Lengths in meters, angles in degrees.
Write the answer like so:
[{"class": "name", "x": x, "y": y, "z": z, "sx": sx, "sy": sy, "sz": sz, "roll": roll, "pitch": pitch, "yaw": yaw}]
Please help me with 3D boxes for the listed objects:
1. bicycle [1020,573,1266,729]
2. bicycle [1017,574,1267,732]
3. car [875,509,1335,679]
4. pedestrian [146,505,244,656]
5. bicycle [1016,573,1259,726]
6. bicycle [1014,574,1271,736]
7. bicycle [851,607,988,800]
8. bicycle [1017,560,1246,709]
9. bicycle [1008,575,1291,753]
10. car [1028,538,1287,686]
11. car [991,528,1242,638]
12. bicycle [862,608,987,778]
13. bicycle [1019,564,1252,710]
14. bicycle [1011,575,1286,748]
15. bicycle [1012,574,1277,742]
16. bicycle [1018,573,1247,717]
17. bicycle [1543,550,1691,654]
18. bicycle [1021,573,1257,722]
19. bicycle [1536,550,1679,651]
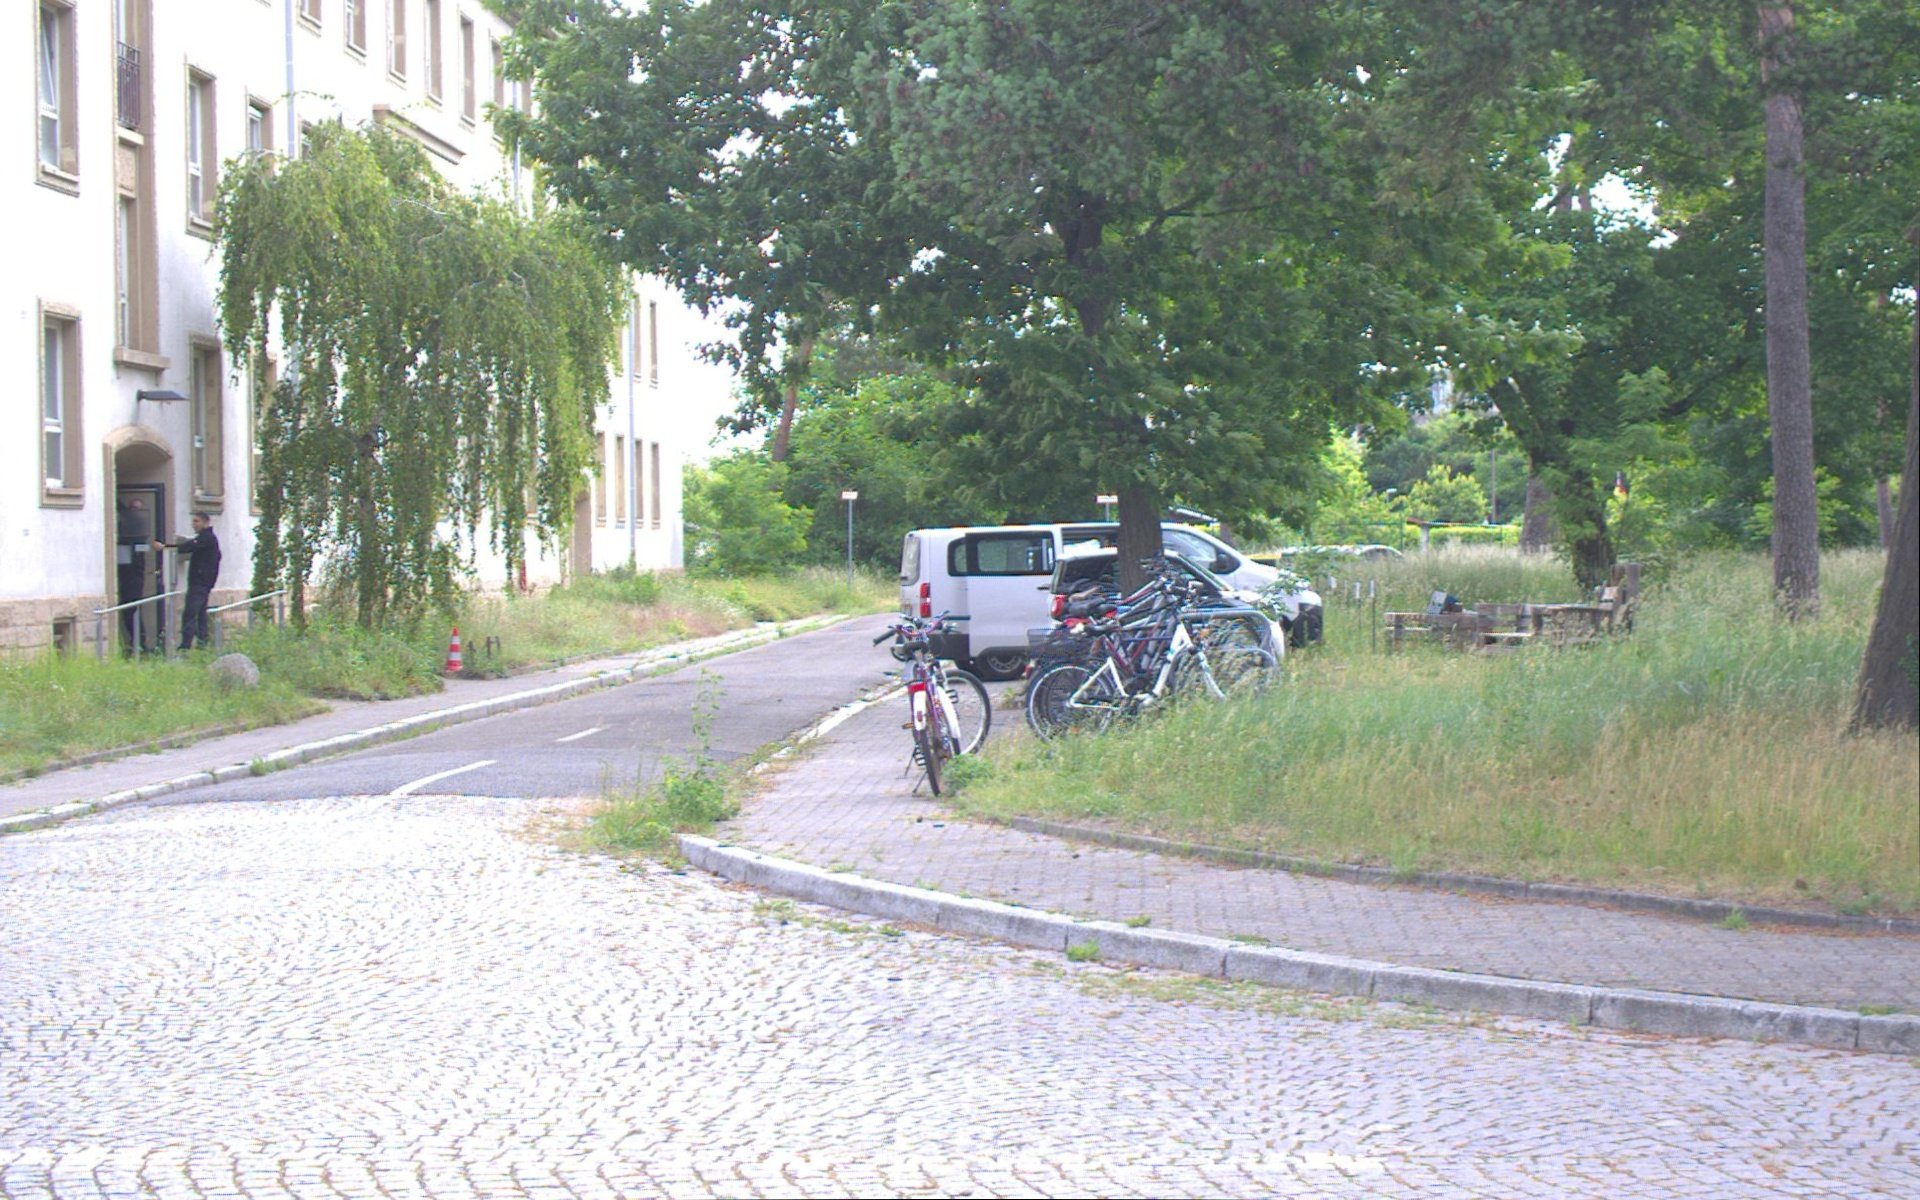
[{"class": "bicycle", "x": 1.485, "y": 0.409, "z": 28.099, "sx": 1.982, "sy": 1.243, "sz": 0.624, "roll": 0, "pitch": 0, "yaw": 2}, {"class": "bicycle", "x": 1.450, "y": 0.415, "z": 27.574, "sx": 1.982, "sy": 1.243, "sz": 0.624, "roll": 0, "pitch": 0, "yaw": 2}, {"class": "car", "x": 1.763, "y": -0.096, "z": 42.629, "sx": 5.303, "sy": 1.909, "sz": 2.150, "roll": -2, "pitch": 1, "yaw": -11}, {"class": "pedestrian", "x": -9.136, "y": -0.236, "z": 41.081, "sx": 0.837, "sy": 1.775, "sz": 0.941, "roll": -1, "pitch": 1, "yaw": 8}, {"class": "bicycle", "x": 1.461, "y": 0.405, "z": 28.494, "sx": 1.982, "sy": 1.243, "sz": 0.624, "roll": 0, "pitch": 0, "yaw": 2}, {"class": "bicycle", "x": 1.420, "y": 0.422, "z": 26.942, "sx": 1.982, "sy": 1.243, "sz": 0.624, "roll": 0, "pitch": 0, "yaw": 2}, {"class": "bicycle", "x": -0.232, "y": 0.612, "z": 21.242, "sx": 0.622, "sy": 1.110, "sz": 1.988, "roll": 0, "pitch": 1, "yaw": 6}, {"class": "bicycle", "x": 1.534, "y": 0.302, "z": 30.845, "sx": 1.982, "sy": 1.243, "sz": 0.624, "roll": -2, "pitch": 0, "yaw": 2}, {"class": "bicycle", "x": 1.342, "y": 0.450, "z": 24.528, "sx": 1.982, "sy": 1.243, "sz": 0.624, "roll": 0, "pitch": 0, "yaw": 2}, {"class": "car", "x": 2.233, "y": 0.124, "z": 39.122, "sx": 2.848, "sy": 1.552, "sz": 1.472, "roll": -1, "pitch": 2, "yaw": 3}, {"class": "car", "x": 2.559, "y": -0.279, "z": 56.493, "sx": 4.031, "sy": 1.712, "sz": 1.681, "roll": -1, "pitch": 1, "yaw": 2}, {"class": "bicycle", "x": -0.224, "y": 0.605, "z": 23.199, "sx": 0.622, "sy": 1.079, "sz": 1.677, "roll": 0, "pitch": 1, "yaw": 7}, {"class": "bicycle", "x": 1.507, "y": 0.313, "z": 29.691, "sx": 1.982, "sy": 1.243, "sz": 0.624, "roll": 0, "pitch": 0, "yaw": 2}, {"class": "bicycle", "x": 1.366, "y": 0.443, "z": 25.157, "sx": 1.982, "sy": 1.243, "sz": 0.624, "roll": 0, "pitch": 0, "yaw": 2}, {"class": "bicycle", "x": 1.388, "y": 0.432, "z": 26.083, "sx": 1.982, "sy": 1.243, "sz": 0.624, "roll": 0, "pitch": 0, "yaw": 2}, {"class": "bicycle", "x": 1.509, "y": 0.385, "z": 30.186, "sx": 1.982, "sy": 1.243, "sz": 0.624, "roll": 0, "pitch": 0, "yaw": 2}, {"class": "bicycle", "x": 7.213, "y": 0.020, "z": 37.761, "sx": 1.549, "sy": 1.121, "sz": 0.401, "roll": -1, "pitch": 1, "yaw": 5}, {"class": "bicycle", "x": 1.510, "y": 0.397, "z": 29.177, "sx": 1.982, "sy": 1.243, "sz": 0.624, "roll": 0, "pitch": 0, "yaw": 2}, {"class": "bicycle", "x": 7.338, "y": 0.004, "z": 38.987, "sx": 1.549, "sy": 1.121, "sz": 0.401, "roll": -1, "pitch": 1, "yaw": 5}]
